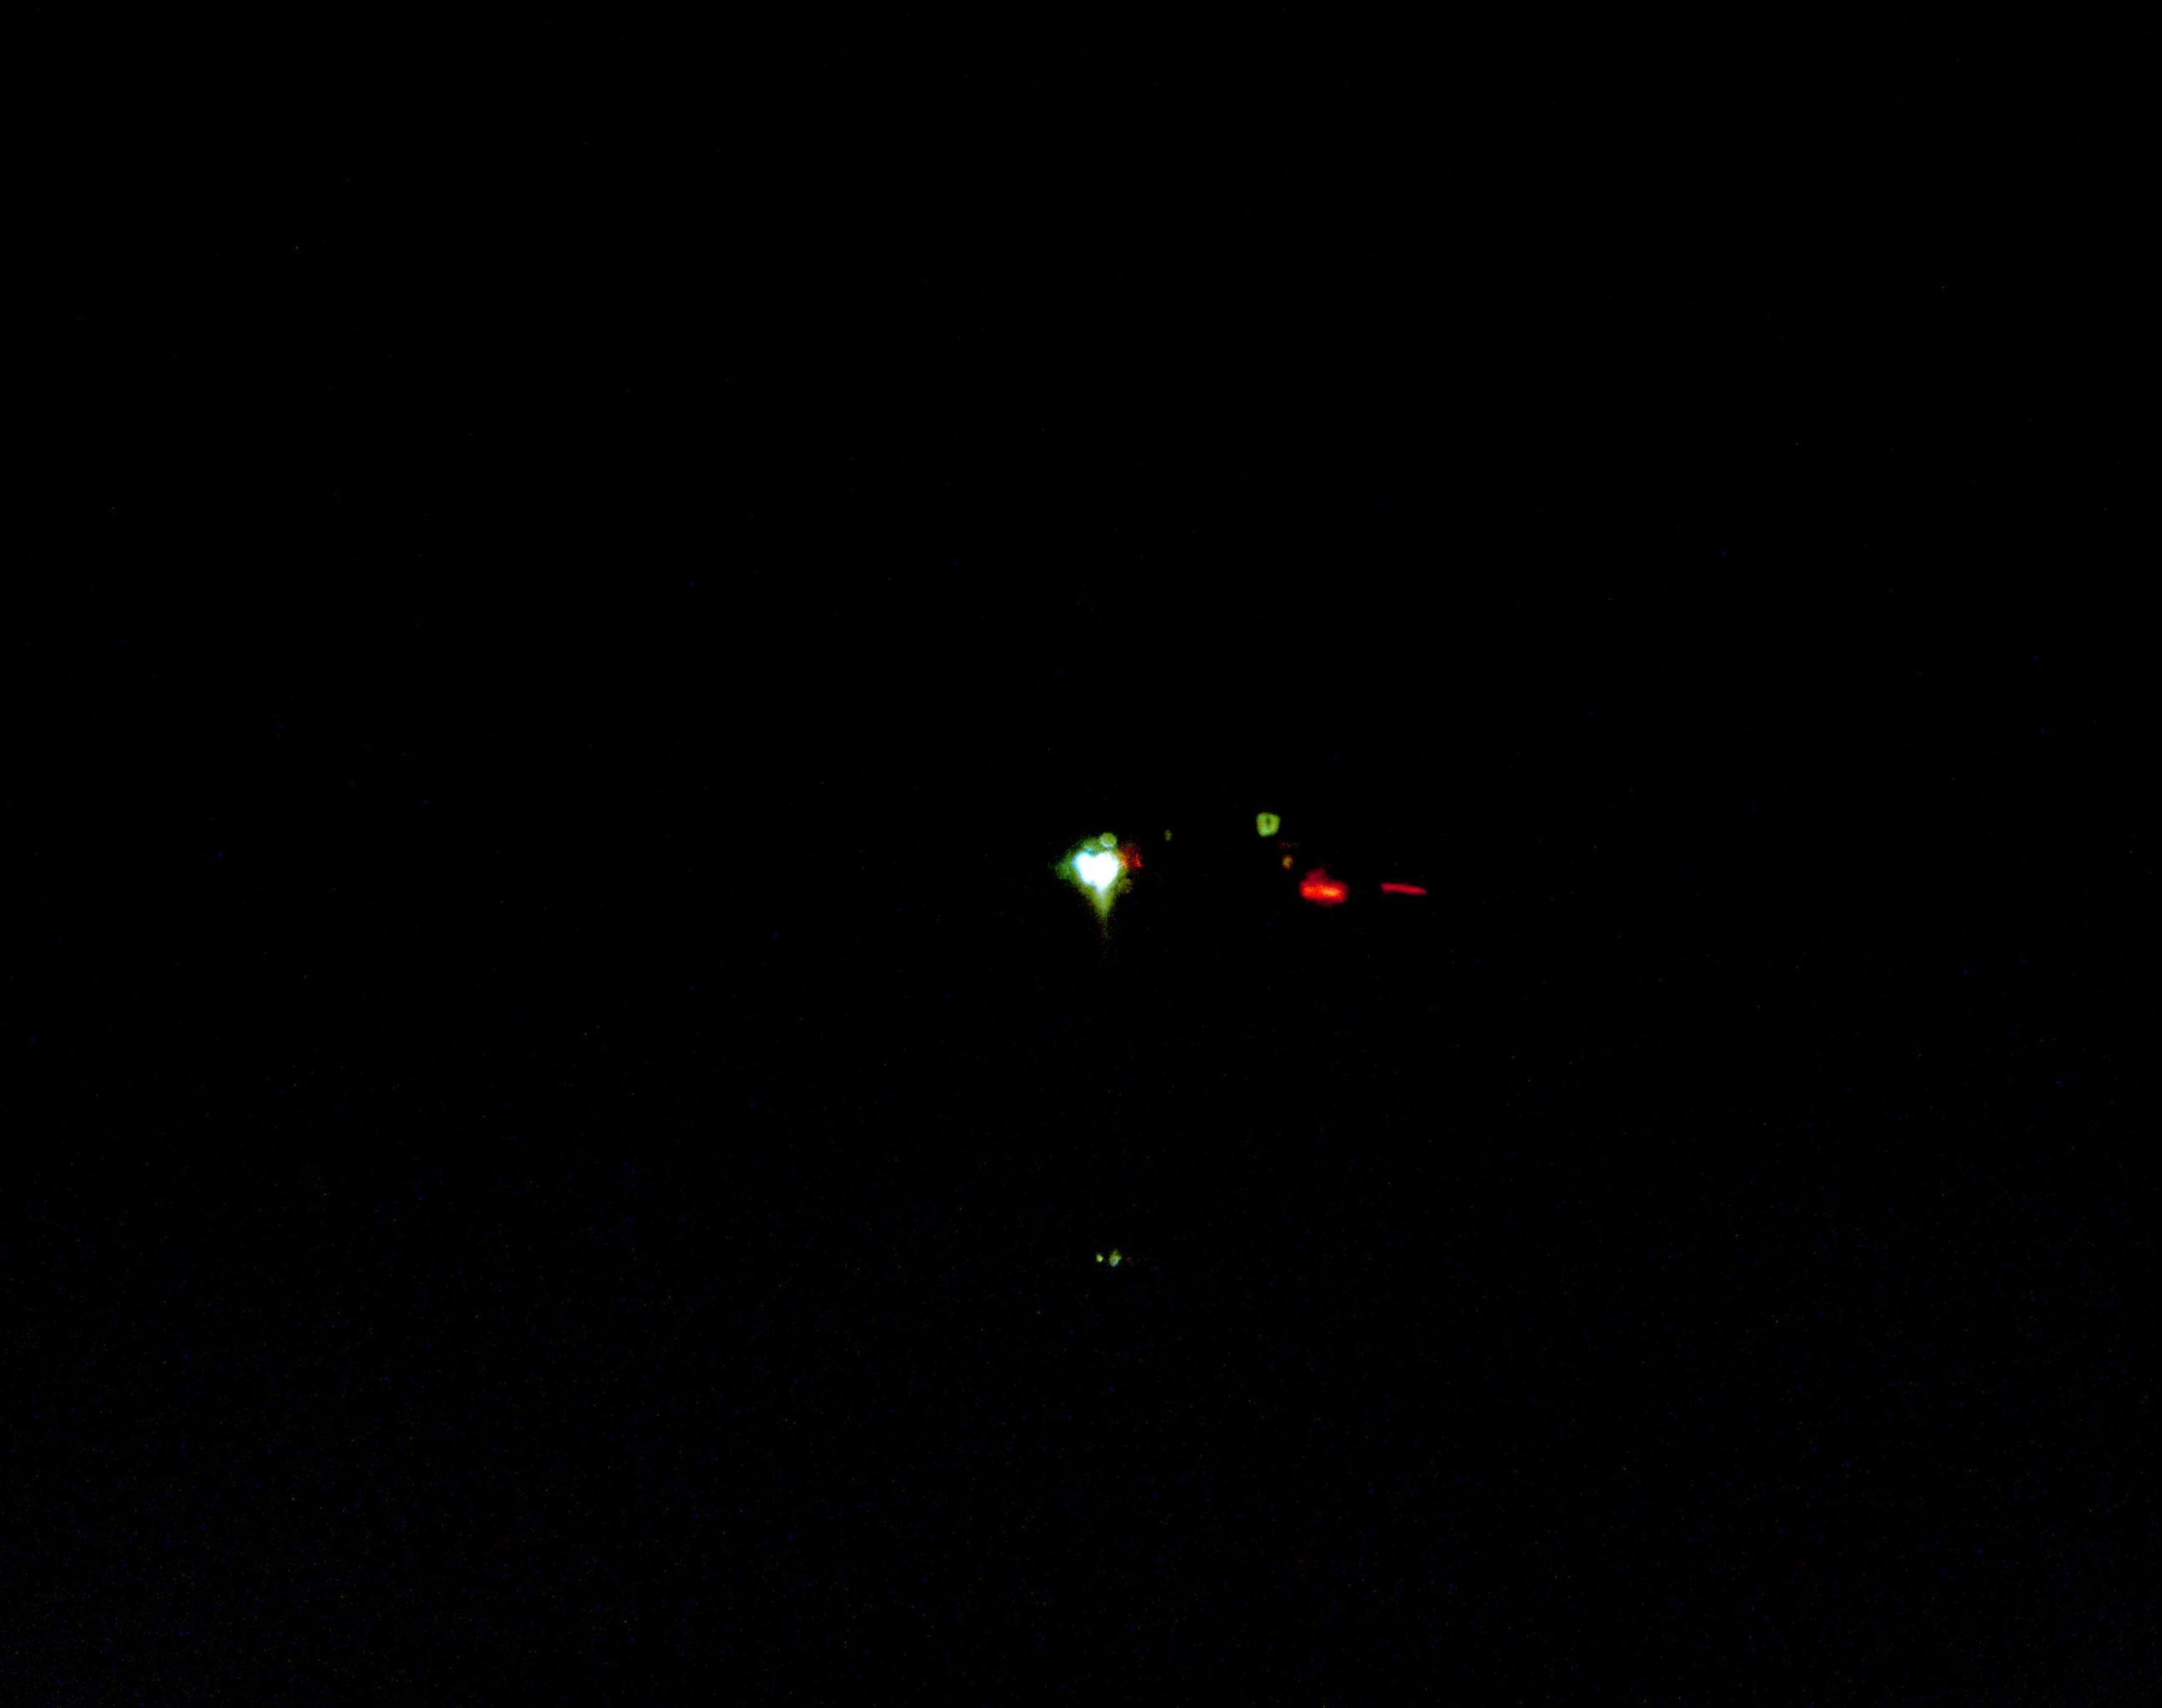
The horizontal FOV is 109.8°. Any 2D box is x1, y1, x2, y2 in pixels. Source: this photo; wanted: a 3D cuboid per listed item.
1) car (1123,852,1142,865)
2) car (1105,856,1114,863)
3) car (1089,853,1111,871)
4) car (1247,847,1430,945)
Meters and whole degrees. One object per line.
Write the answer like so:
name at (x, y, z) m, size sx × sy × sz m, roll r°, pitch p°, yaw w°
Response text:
car at (6.516, 0.526, 95.883) m, size 1.812 × 1.612 × 4.003 m, roll -1°, pitch 0°, yaw 11°
car at (6.495, 1.167, 172.956) m, size 1.998 × 1.489 × 3.775 m, roll -2°, pitch 0°, yaw 5°
car at (1.756, 0.727, 72.401) m, size 1.998 × 1.575 × 4.000 m, roll -3°, pitch 0°, yaw 1°
car at (4.801, 0.692, 15.002) m, size 1.998 × 1.567 × 4.661 m, roll -2°, pitch 0°, yaw 0°
